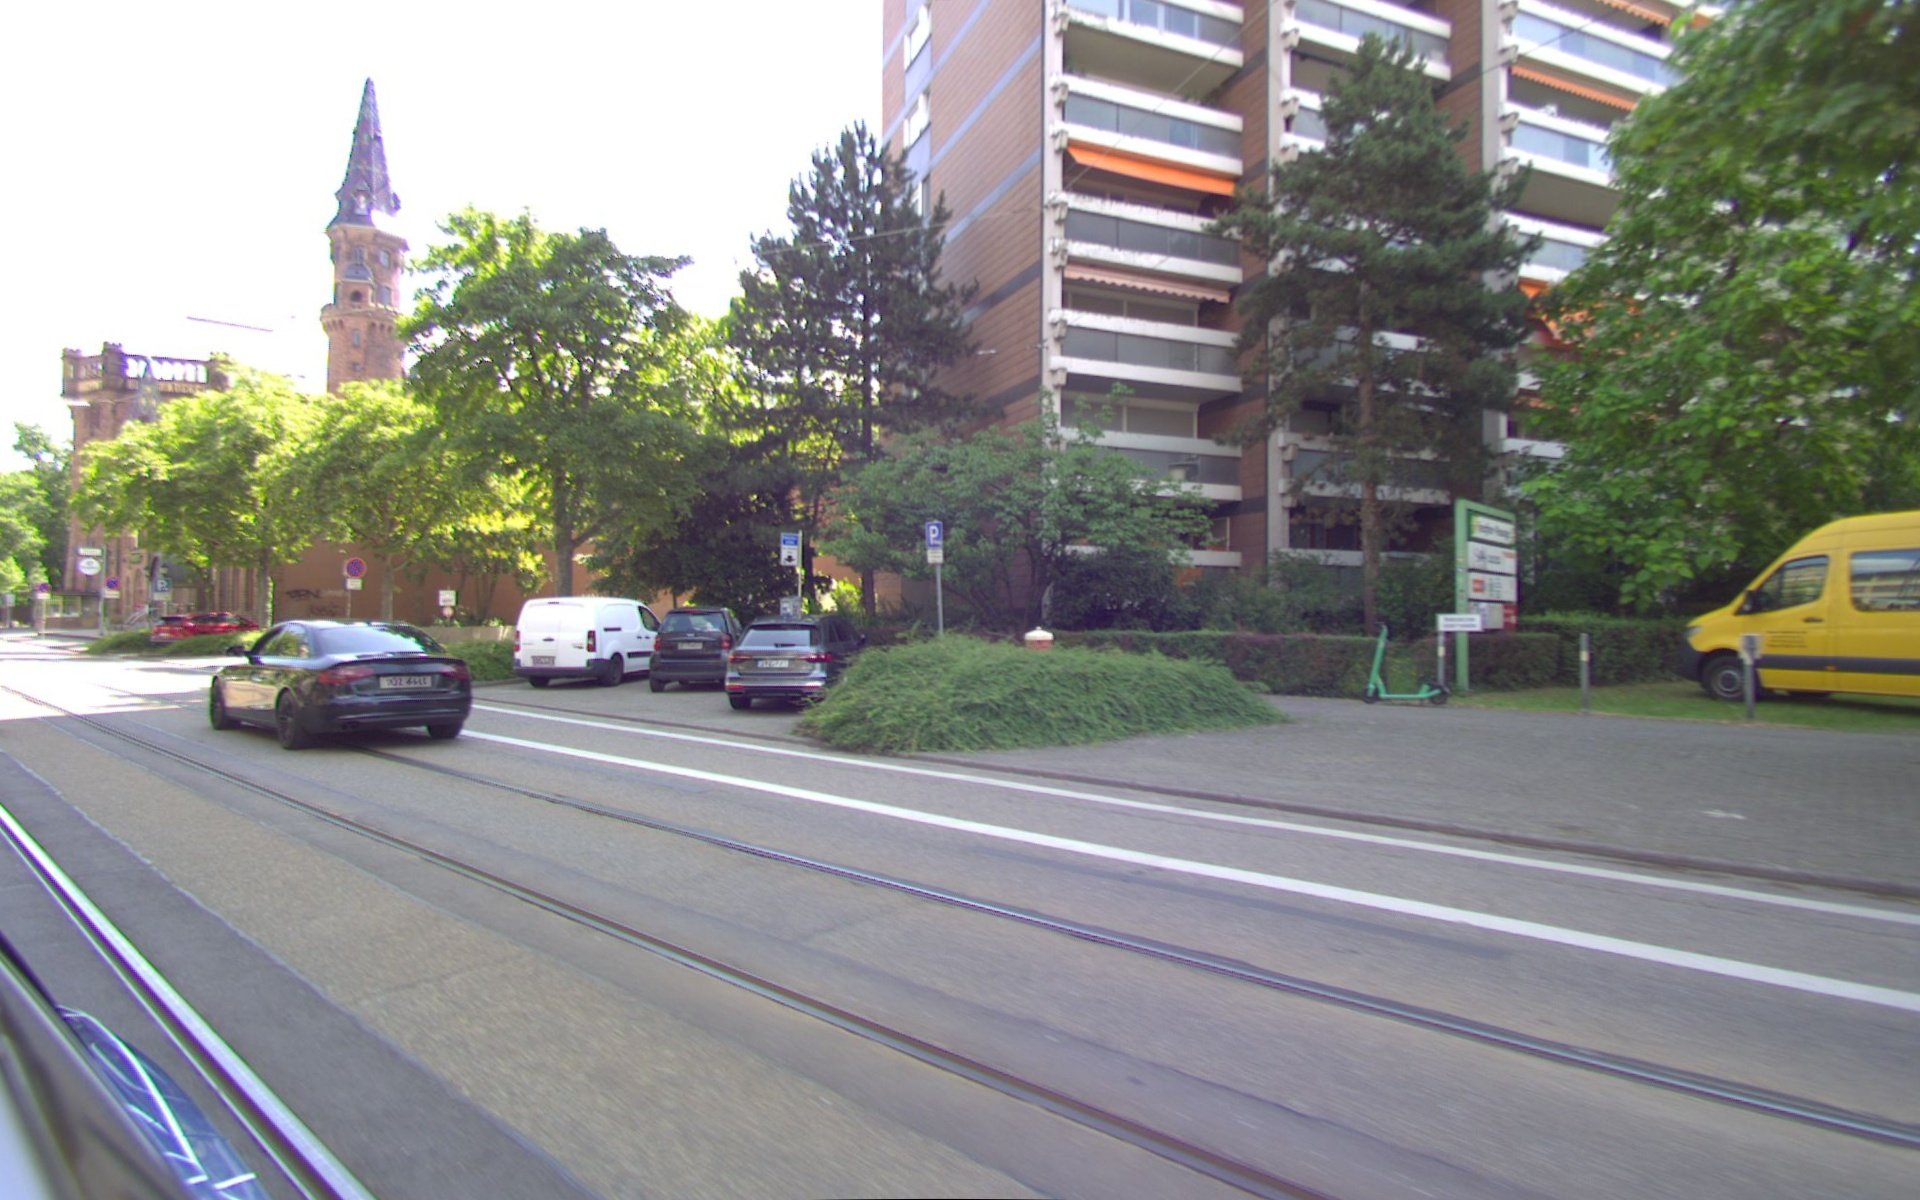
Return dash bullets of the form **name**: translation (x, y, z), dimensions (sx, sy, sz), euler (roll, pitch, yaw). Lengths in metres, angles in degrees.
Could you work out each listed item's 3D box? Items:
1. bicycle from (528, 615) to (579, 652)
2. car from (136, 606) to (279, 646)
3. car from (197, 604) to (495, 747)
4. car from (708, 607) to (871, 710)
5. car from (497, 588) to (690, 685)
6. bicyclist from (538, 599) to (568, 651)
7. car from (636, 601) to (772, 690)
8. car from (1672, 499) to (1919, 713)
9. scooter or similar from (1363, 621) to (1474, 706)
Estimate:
- **bicycle**: translation (-11.838, 0.966, 29.454), dimensions (1.874, 1.055, 0.513), euler (-1, 0, 39)
- **car**: translation (-31.876, 1.064, 43.065), dimensions (1.981, 1.578, 4.761), euler (0, -1, 12)
- **car**: translation (-7.399, 0.785, 12.020), dimensions (4.284, 1.408, 1.756), euler (-1, -2, 40)
- **car**: translation (-2.595, 0.841, 16.449), dimensions (1.749, 1.405, 4.444), euler (-1, 0, 2)
- **car**: translation (-7.493, 0.702, 21.245), dimensions (1.879, 1.805, 4.537), euler (-1, 0, 8)
- **bicyclist**: translation (-11.849, 0.716, 29.457), dimensions (0.780, 1.492, 0.476), euler (-1, 0, 39)
- **car**: translation (-4.913, 0.813, 19.956), dimensions (1.747, 1.544, 3.951), euler (-1, 0, -1)
- **car**: translation (12.750, 0.082, 12.243), dimensions (2.147, 2.585, 6.746), euler (0, 0, -19)
- **scooter or similar**: translation (6.420, 0.868, 14.211), dimensions (0.379, 1.132, 1.370), euler (0, 0, -44)
